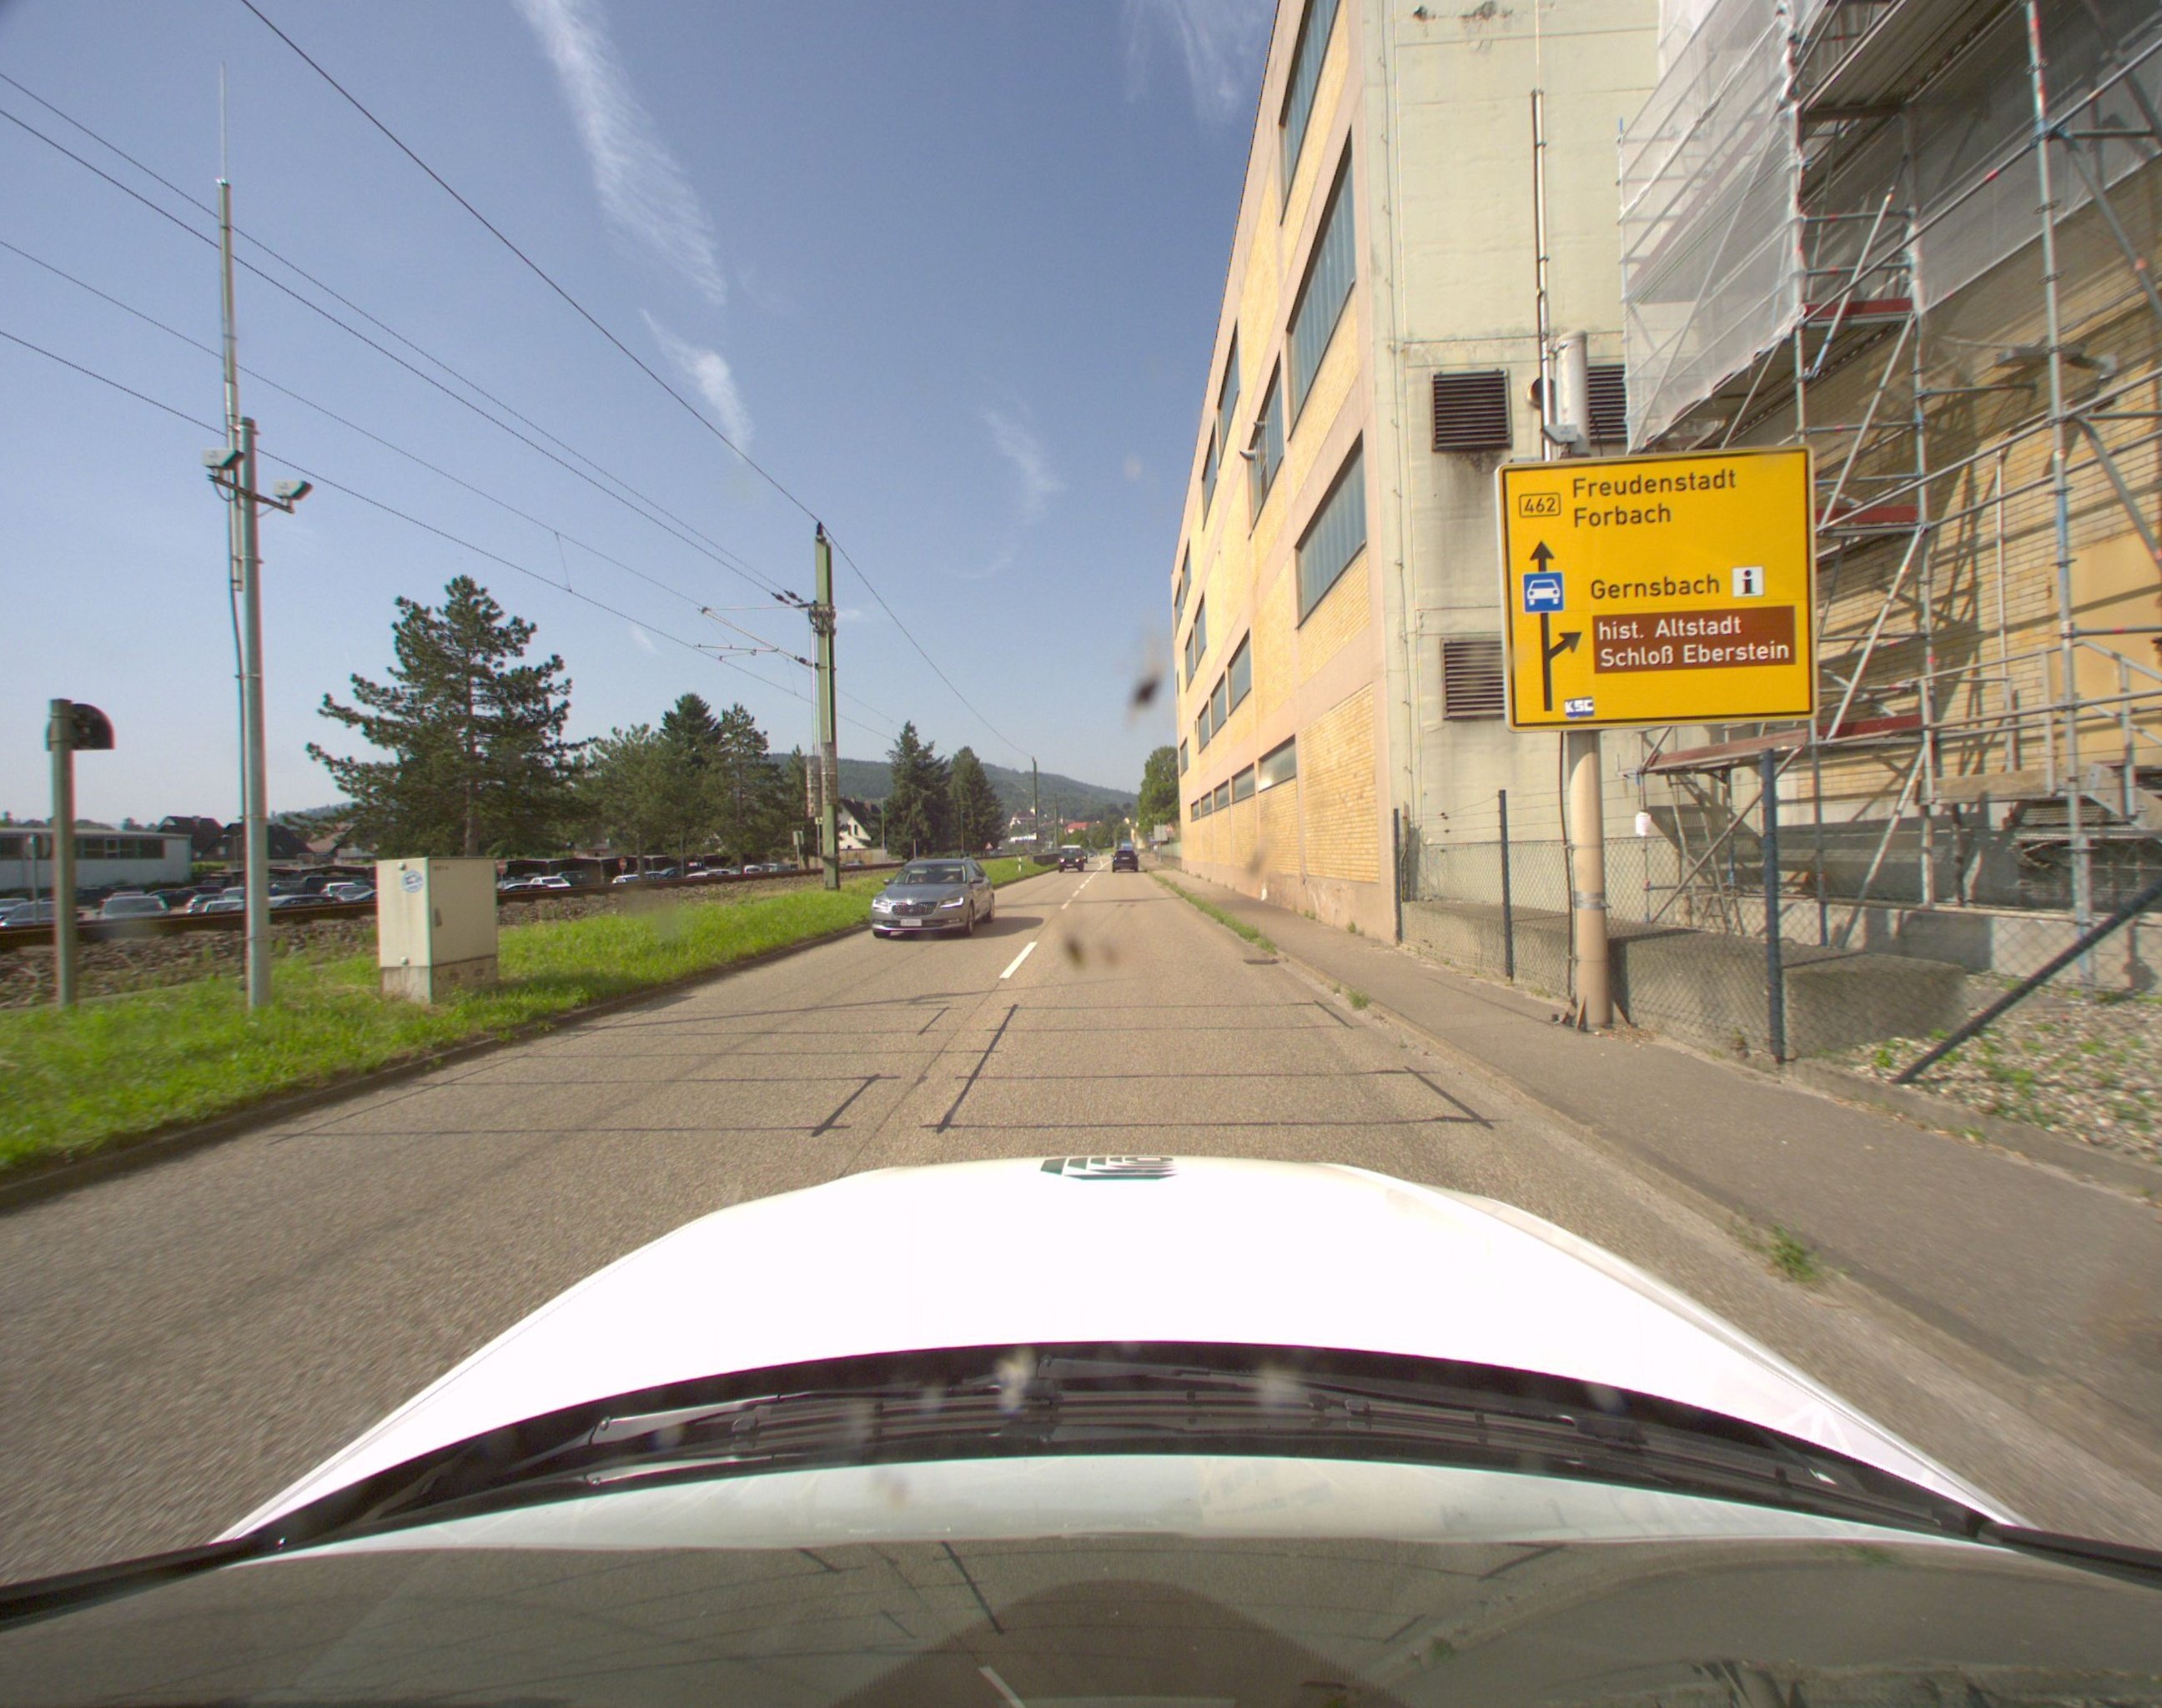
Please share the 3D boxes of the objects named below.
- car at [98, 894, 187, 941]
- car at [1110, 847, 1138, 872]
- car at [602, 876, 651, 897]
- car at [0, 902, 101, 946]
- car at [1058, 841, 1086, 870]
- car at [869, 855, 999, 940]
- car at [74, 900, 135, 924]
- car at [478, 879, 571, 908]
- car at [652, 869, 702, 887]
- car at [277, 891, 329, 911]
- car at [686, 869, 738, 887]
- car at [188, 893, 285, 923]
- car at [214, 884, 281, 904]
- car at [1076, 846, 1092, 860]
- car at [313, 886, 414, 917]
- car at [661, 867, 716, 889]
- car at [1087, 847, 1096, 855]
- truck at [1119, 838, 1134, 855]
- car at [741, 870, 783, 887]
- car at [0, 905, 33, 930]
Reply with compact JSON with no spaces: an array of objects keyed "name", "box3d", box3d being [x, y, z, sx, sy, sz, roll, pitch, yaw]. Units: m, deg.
[{"name":"car","box3d":[-35.609,2.362,30.981,1.697,1.506,3.806,-2,0,-42]},{"name":"car","box3d":[3.108,0.371,58.569,1.911,1.640,4.003,-2,0,3]},{"name":"car","box3d":[-31.351,2.262,56.135,3.491,1.325,1.467,-2,0,34]},{"name":"car","box3d":[-38.804,2.586,30.768,1.697,1.390,3.806,-2,0,-42]},{"name":"car","box3d":[-0.656,0.101,61.879,1.751,2.078,4.812,-1,0,4]},{"name":"car","box3d":[-2.844,0.778,16.676,1.761,1.405,4.297,-3,0,1]},{"name":"car","box3d":[-61.214,3.629,51.050,3.494,1.325,1.465,-2,0,23]},{"name":"car","box3d":[-30.311,2.143,44.462,1.544,1.325,3.882,-2,0,40]},{"name":"car","box3d":[-34.577,2.018,69.771,1.438,1.325,3.559,-2,0,39]},{"name":"car","box3d":[-57.293,3.465,60.000,3.494,1.325,1.465,-2,0,23]},{"name":"car","box3d":[-30.321,1.965,66.932,1.438,1.325,3.559,-2,0,39]},{"name":"car","box3d":[-43.664,2.770,42.156,1.438,1.268,3.363,-2,0,39]},{"name":"car","box3d":[-64.963,3.132,63.503,1.438,1.325,3.559,-2,0,41]},{"name":"car","box3d":[0.350,-0.101,96.228,1.724,1.526,4.095,-1,0,3]},{"name":"car","box3d":[-37.519,2.463,42.647,3.879,1.325,1.545,-2,0,-43]},{"name":"car","box3d":[-32.725,1.999,67.967,1.625,1.688,3.830,-2,0,38]},{"name":"car","box3d":[2.261,-0.635,174.645,1.735,1.507,4.201,-1,0,1]},{"name":"truck","box3d":[8.216,-1.296,147.286,2.305,2.970,5.966,-2,0,0]},{"name":"car","box3d":[-35.548,2.717,90.778,3.982,1.665,1.814,-1,0,-7]},{"name":"car","box3d":[-63.288,3.732,47.703,3.494,1.325,1.465,-2,0,23]}]
